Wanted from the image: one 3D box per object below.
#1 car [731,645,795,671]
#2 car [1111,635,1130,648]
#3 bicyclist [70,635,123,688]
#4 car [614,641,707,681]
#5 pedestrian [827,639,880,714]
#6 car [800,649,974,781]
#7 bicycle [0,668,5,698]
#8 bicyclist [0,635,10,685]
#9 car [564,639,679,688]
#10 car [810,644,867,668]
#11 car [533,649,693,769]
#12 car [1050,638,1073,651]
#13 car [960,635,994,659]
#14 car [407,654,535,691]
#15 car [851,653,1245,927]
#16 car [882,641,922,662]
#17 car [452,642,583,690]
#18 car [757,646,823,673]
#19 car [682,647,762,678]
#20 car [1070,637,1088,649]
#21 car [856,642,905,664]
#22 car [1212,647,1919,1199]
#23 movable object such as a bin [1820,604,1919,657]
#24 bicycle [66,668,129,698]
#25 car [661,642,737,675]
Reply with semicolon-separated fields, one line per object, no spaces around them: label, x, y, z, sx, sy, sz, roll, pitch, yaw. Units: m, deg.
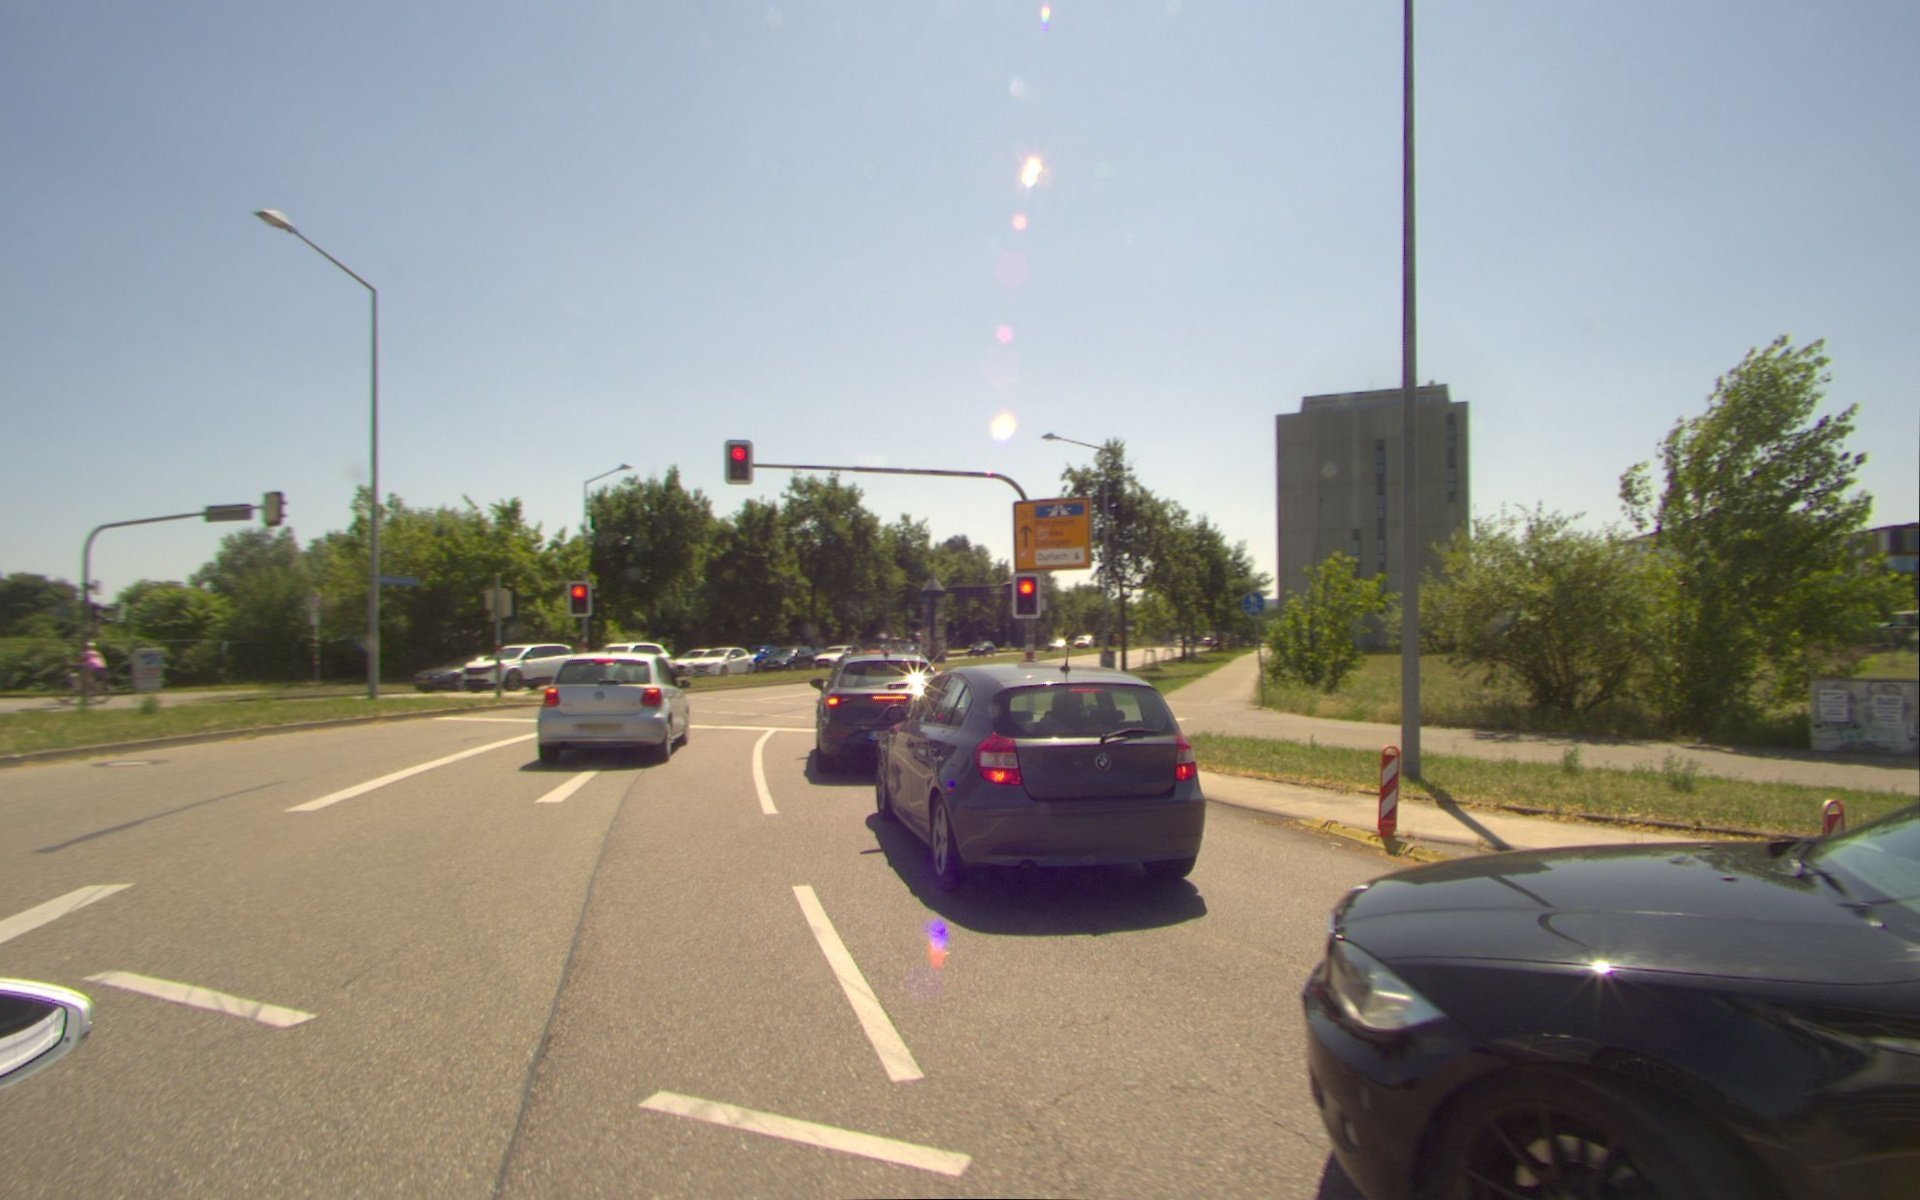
car;-11.738;3.442;59.853;1.831;1.440;4.403;-1;-3;18
car;21.390;5.525;133.256;1.775;1.713;4.138;-2;-3;18
bicyclist;-27.093;1.921;31.422;1.169;1.630;0.955;-2;-3;32
car;-13.405;2.706;45.102;1.831;1.704;4.403;-1;-2;18
pedestrian;-2.422;1.745;22.867;0.940;1.657;0.756;-2;-3;19
car;-1.025;1.410;13.584;1.961;1.436;4.457;0;-2;-5
bicycle;-30.708;2.581;31.358;1.740;0.911;0.893;0;-3;38
bicyclist;-30.558;1.876;31.384;1.171;1.551;0.953;0;-1;38
car;-12.673;2.352;37.766;1.831;1.704;4.403;-1;-2;18
car;-7.531;3.477;62.683;1.831;1.440;4.403;-1;-3;18
car;-4.872;1.454;14.559;1.749;1.440;3.998;0;-2;-13
car;11.805;5.166;116.547;1.941;1.506;3.996;-1;-2;18
car;1.556;4.278;91.065;1.964;2.038;3.997;-2;-3;17
car;-18.570;2.725;38.274;1.831;1.286;4.403;-1;-3;18
car;0.327;1.147;7.607;1.722;1.420;4.077;1;-2;-14
car;-4.260;3.831;74.278;1.690;1.493;3.794;-2;-3;17
car;-15.891;2.330;36.214;1.831;1.638;4.403;-1;-3;18
car;-9.491;3.326;56.308;1.831;1.440;4.403;-1;-3;18
car;-11.811;3.080;49.951;1.831;1.440;4.403;-1;-3;18
car;16.262;5.850;136.784;1.835;1.574;3.996;-1;-2;17
car;-5.504;3.659;69.607;1.831;1.440;4.403;-1;-3;18
car;2.742;0.847;2.108;3.945;1.458;1.794;-1;-3;34
movable object such as a bin;58.178;1.904;62.727;7.470;3.187;2.812;0;-3;-17
bicycle;-27.116;2.606;31.489;2.195;0.911;0.894;-3;-4;33
car;-13.964;3.128;53.787;1.831;1.704;4.403;-1;-2;18
